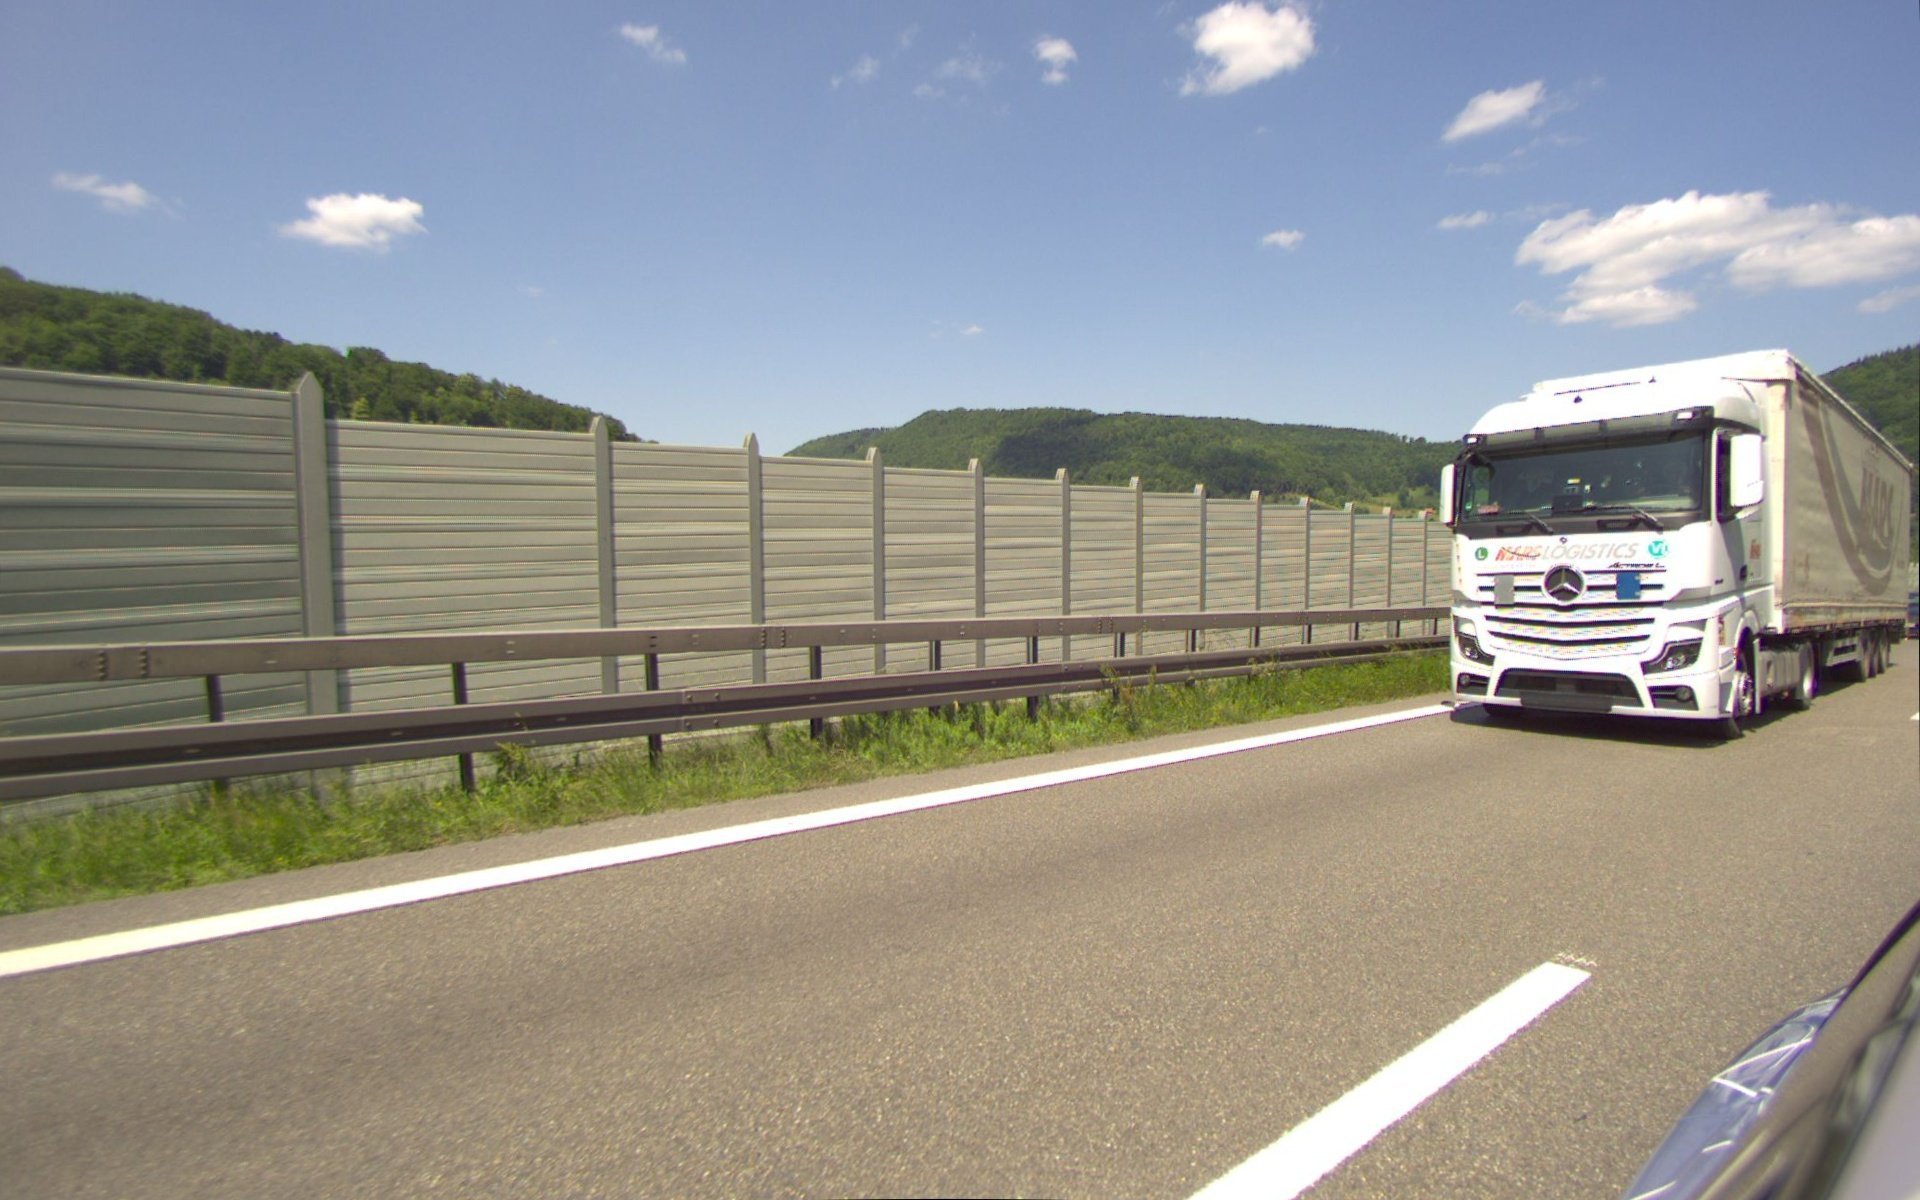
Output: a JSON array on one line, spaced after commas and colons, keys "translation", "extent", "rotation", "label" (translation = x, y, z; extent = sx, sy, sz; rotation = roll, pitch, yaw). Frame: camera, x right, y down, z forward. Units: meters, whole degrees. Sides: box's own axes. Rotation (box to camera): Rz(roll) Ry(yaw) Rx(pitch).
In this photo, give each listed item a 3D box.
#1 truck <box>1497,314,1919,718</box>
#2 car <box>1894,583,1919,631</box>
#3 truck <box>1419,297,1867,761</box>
[{"translation": [12.087, -0.928, 15.540], "extent": [11.839, 4.200, 2.859], "rotation": [0, 0, -42], "label": "truck"}, {"translation": [30.655, 0.226, 31.700], "extent": [3.415, 1.430, 1.662], "rotation": [-1, 4, -41], "label": "car"}, {"translation": [8.471, -0.848, 12.210], "extent": [6.708, 4.086, 2.763], "rotation": [-4, 5, -41], "label": "truck"}]
